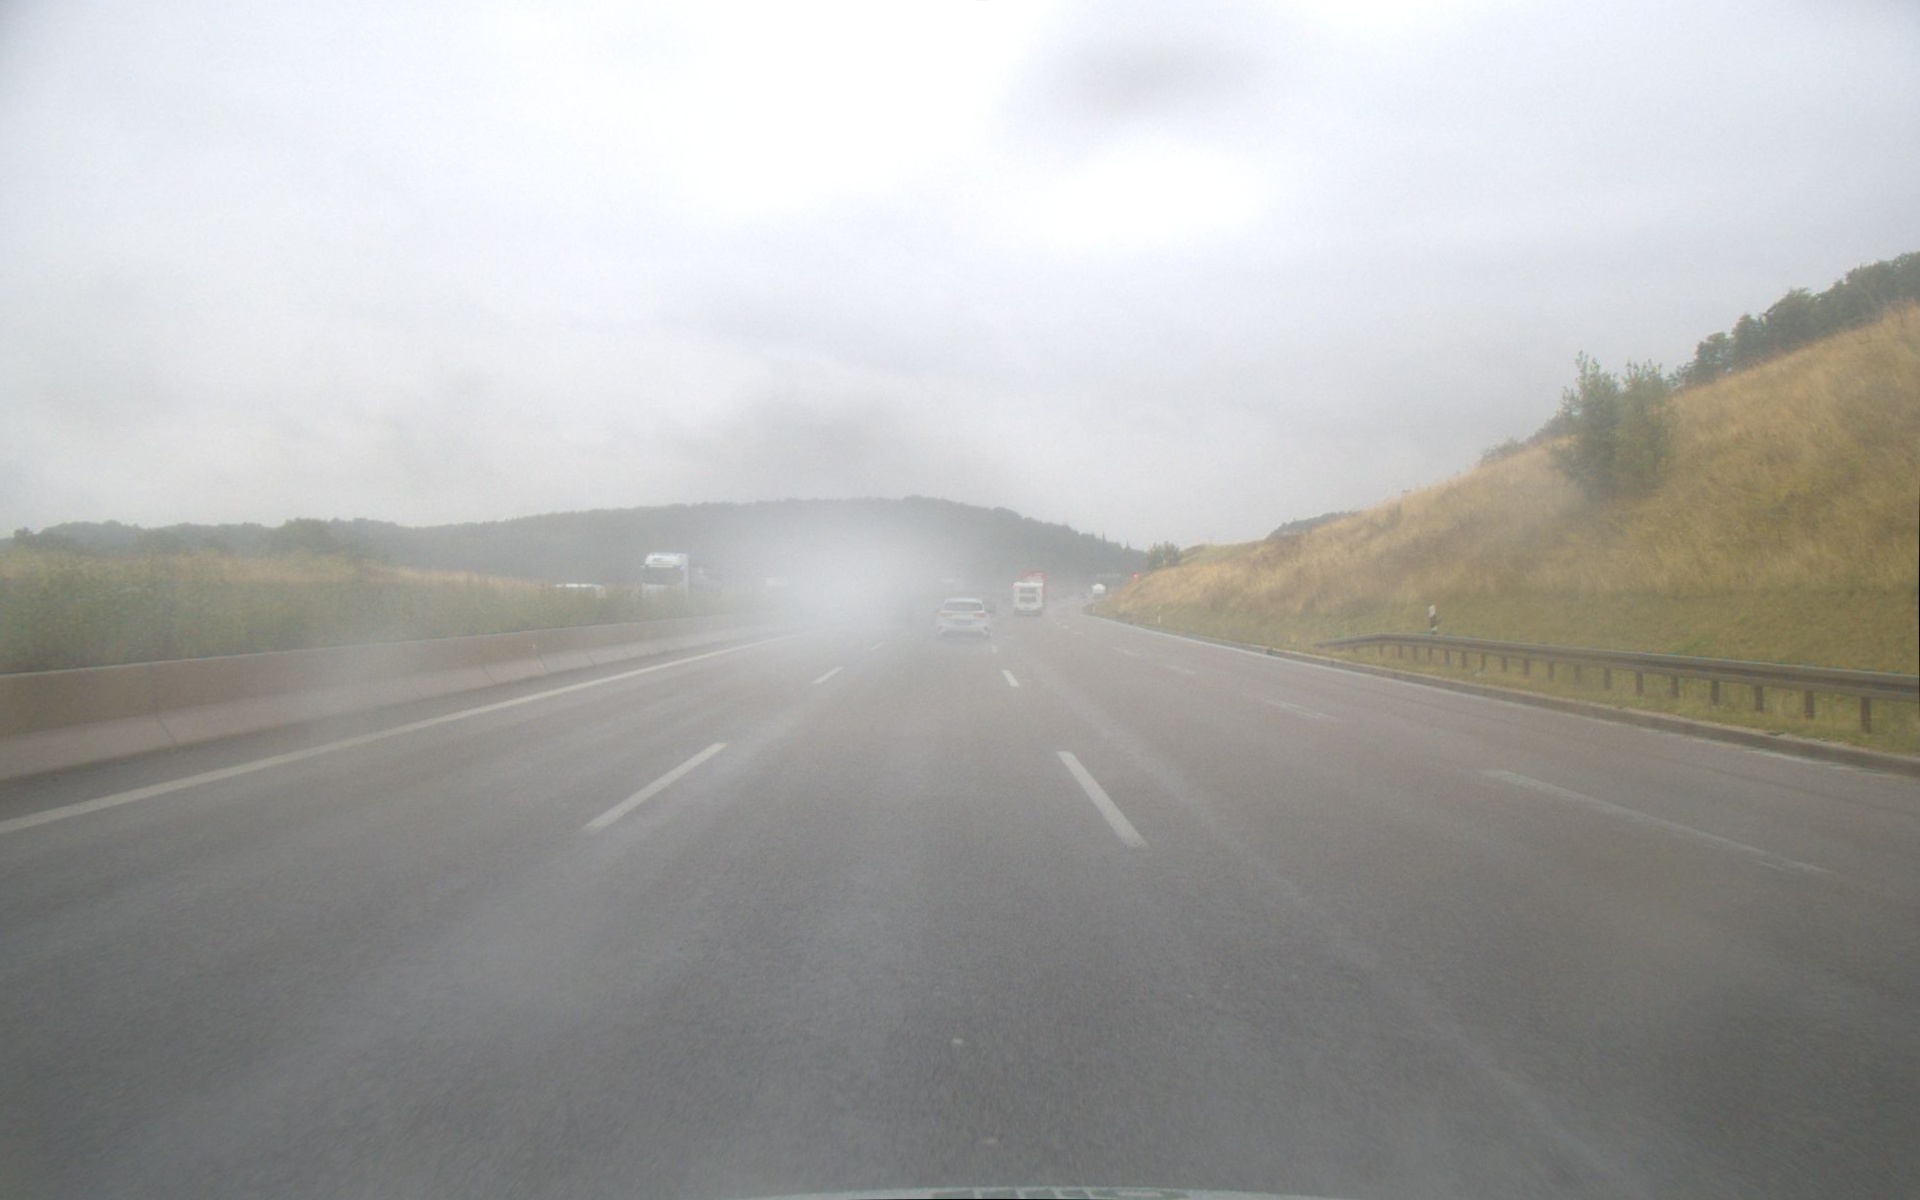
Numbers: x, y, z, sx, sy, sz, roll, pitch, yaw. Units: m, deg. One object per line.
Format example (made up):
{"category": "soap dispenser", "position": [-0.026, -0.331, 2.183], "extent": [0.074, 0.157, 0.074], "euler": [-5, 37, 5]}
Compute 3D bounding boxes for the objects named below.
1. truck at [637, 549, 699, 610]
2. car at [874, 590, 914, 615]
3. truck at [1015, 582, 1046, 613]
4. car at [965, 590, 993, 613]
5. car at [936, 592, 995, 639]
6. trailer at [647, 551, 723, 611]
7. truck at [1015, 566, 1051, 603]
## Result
{"category": "truck", "position": [-18.570, -1.278, 105.460], "extent": [2.722, 3.671, 5.740], "euler": [1, -1, 2]}
{"category": "car", "position": [-3.308, 0.149, 82.374], "extent": [1.788, 1.177, 4.209], "euler": [1, -1, -5]}
{"category": "truck", "position": [5.410, -0.208, 128.201], "extent": [2.358, 2.292, 4.694], "euler": [0, 0, 2]}
{"category": "car", "position": [1.389, 0.081, 122.612], "extent": [1.953, 1.646, 4.000], "euler": [0, 0, 0]}
{"category": "car", "position": [0.148, 0.504, 54.747], "extent": [1.830, 1.488, 3.998], "euler": [1, -1, -2]}
{"category": "trailer", "position": [-18.345, -1.192, 111.144], "extent": [2.706, 3.684, 11.152], "euler": [1, -1, 2]}
{"category": "truck", "position": [7.772, -1.730, 177.270], "extent": [3.454, 3.808, 11.428], "euler": [1, 1, 1]}
